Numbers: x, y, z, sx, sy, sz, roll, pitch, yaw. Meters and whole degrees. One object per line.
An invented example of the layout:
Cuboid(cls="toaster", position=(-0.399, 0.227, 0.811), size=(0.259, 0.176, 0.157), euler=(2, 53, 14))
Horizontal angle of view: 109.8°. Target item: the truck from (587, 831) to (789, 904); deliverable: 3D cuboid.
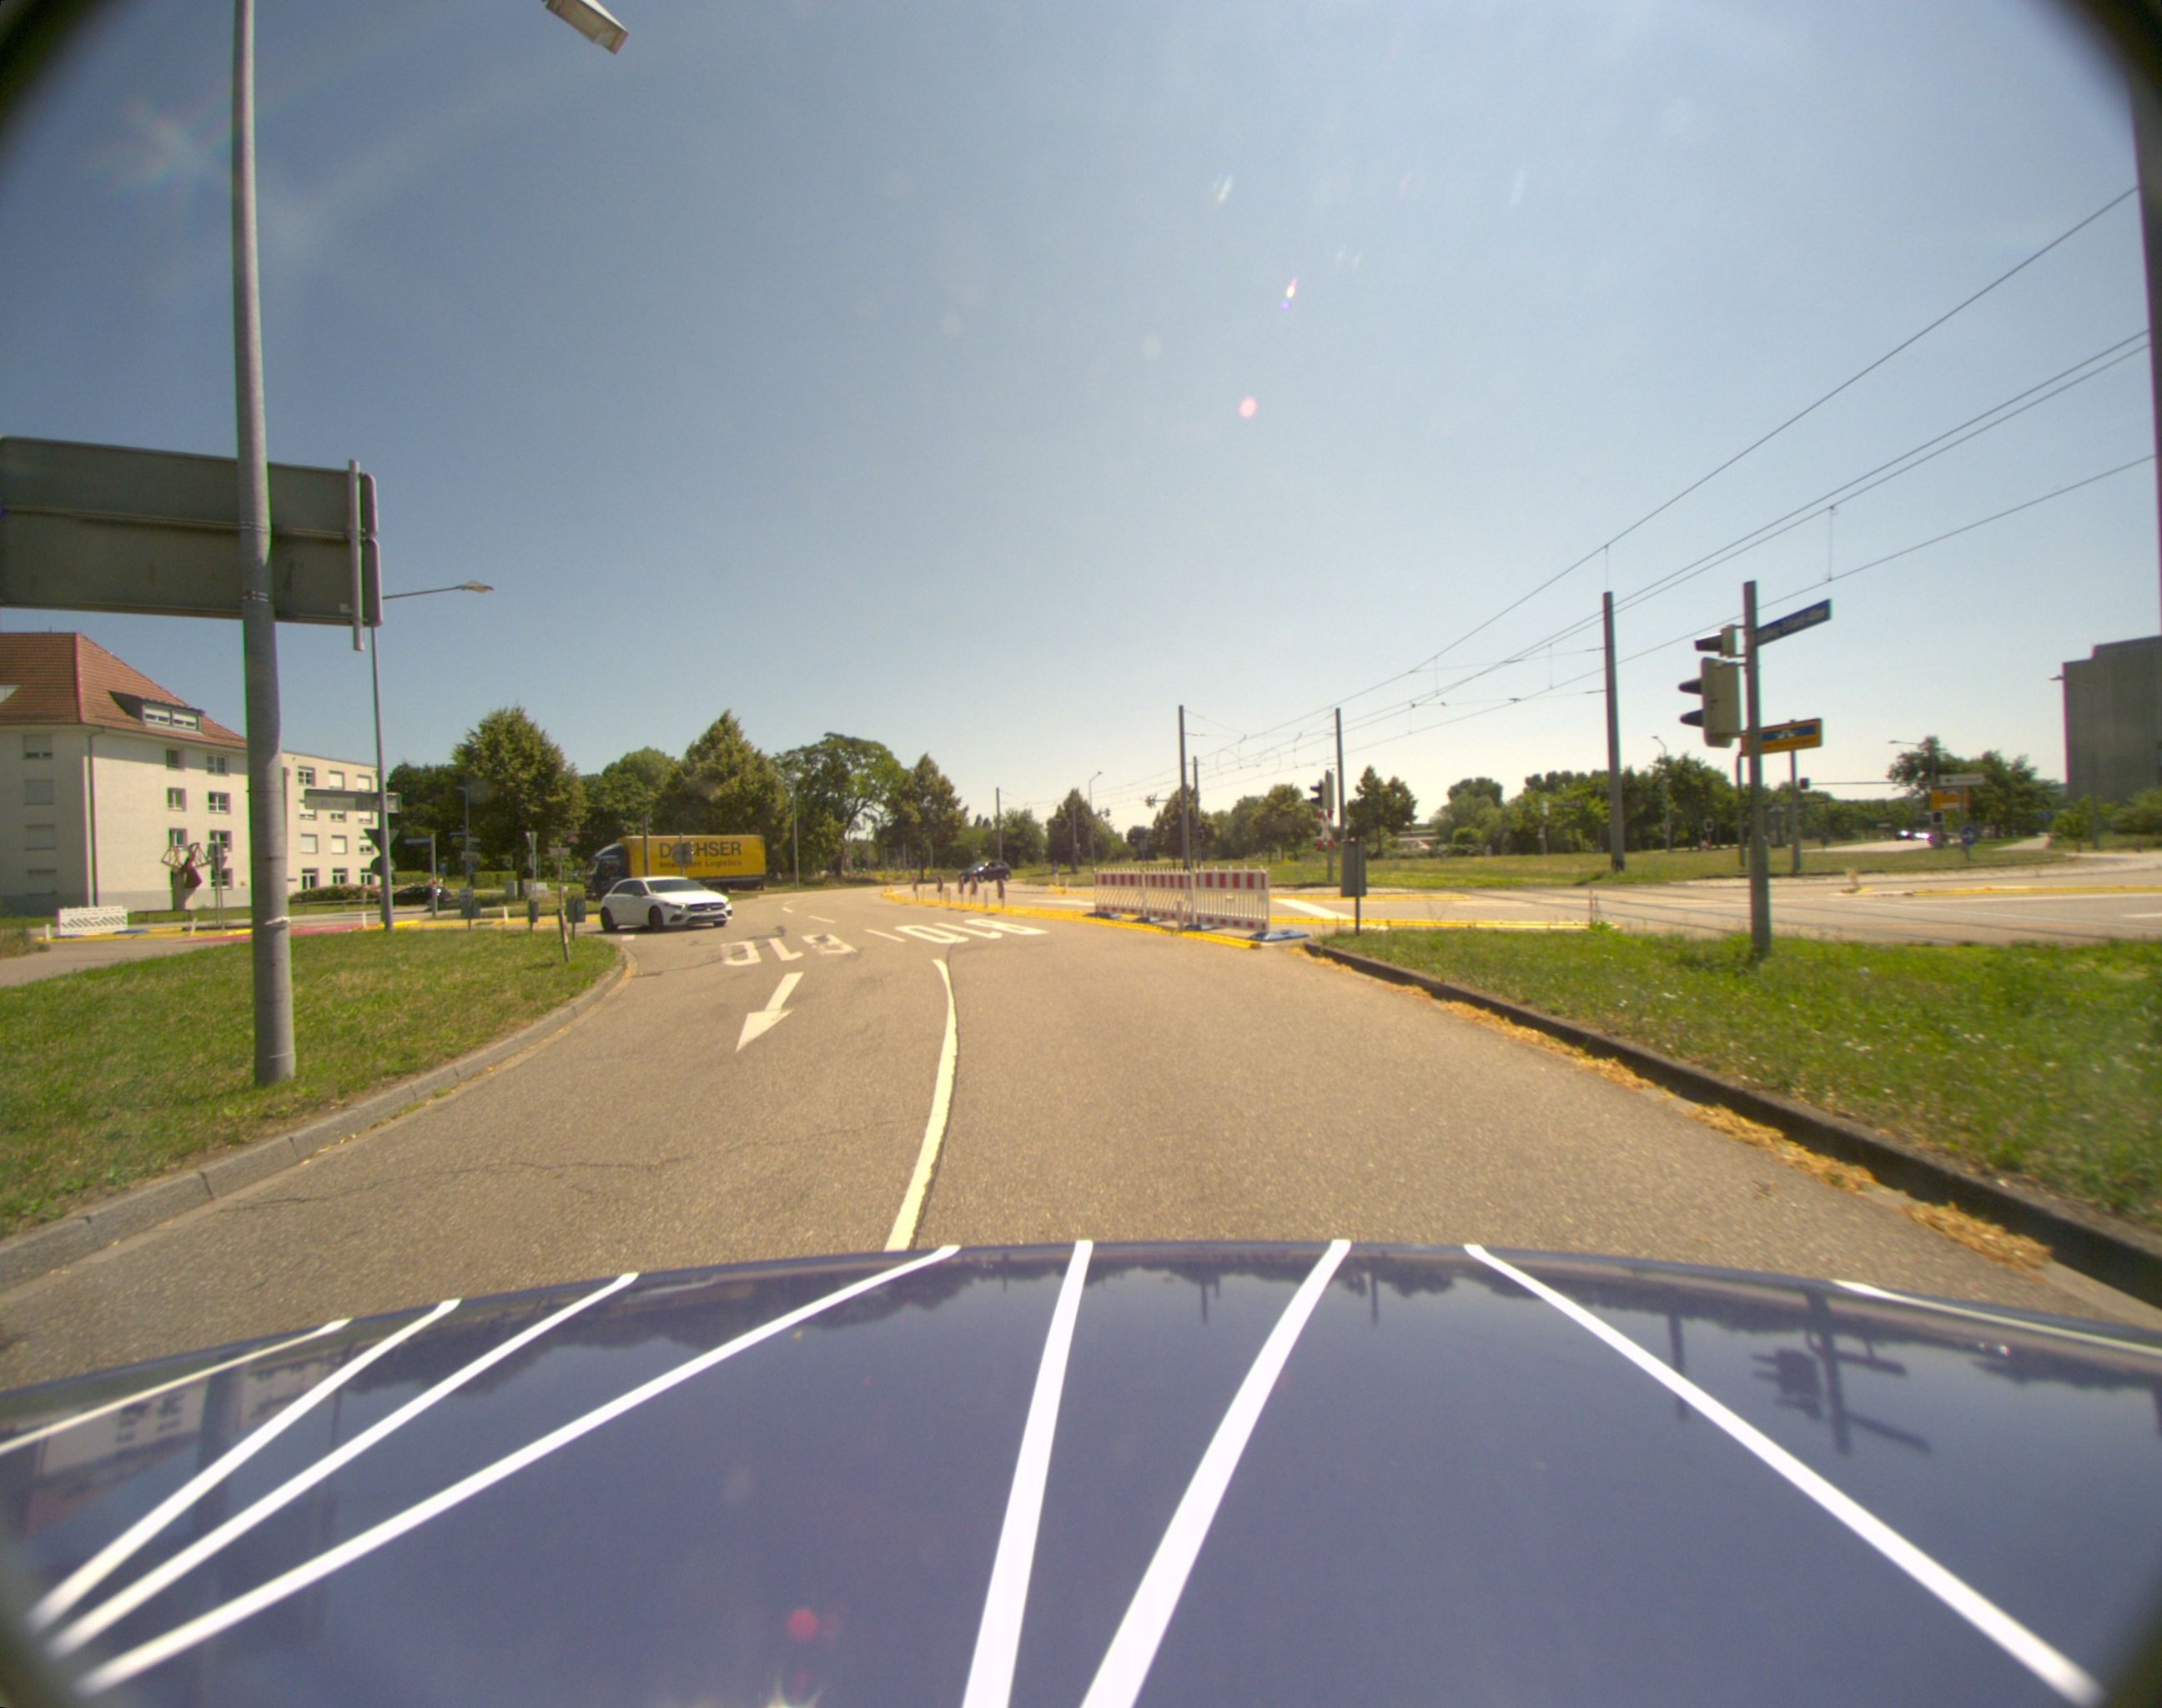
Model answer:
Cuboid(cls="truck", position=(-21.839, 0.618, 42.861), size=(2.700, 3.637, 9.635), euler=(-2, 0, 43))

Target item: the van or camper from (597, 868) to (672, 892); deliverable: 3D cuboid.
Cuboid(cls="van or camper", position=(-39.096, 2.242, 66.618), size=(5.272, 1.846, 1.999), euler=(-2, 0, -8))

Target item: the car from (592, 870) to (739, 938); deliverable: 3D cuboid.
Cuboid(cls="car", position=(-10.993, 1.232, 20.047), size=(3.952, 1.537, 1.785), euler=(-1, 1, 35))

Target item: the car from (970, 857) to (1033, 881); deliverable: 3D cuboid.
Cuboid(cls="car", position=(-5.195, 0.965, 50.352), size=(1.974, 1.410, 4.007), euler=(-2, 0, 34))

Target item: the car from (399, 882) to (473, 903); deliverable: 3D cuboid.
Cuboid(cls="car", position=(-47.004, 2.785, 55.454), size=(3.807, 1.319, 1.659), euler=(-2, 0, -7))

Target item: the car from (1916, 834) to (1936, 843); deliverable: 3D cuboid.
Cuboid(cls="car", position=(134.727, -2.470, 121.116), size=(3.406, 1.400, 1.755), euler=(-2, 0, -37))

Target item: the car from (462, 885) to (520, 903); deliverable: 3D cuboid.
Cuboid(cls="car", position=(-47.737, 3.222, 61.535), size=(3.513, 1.210, 1.356), euler=(-2, 0, -7))
